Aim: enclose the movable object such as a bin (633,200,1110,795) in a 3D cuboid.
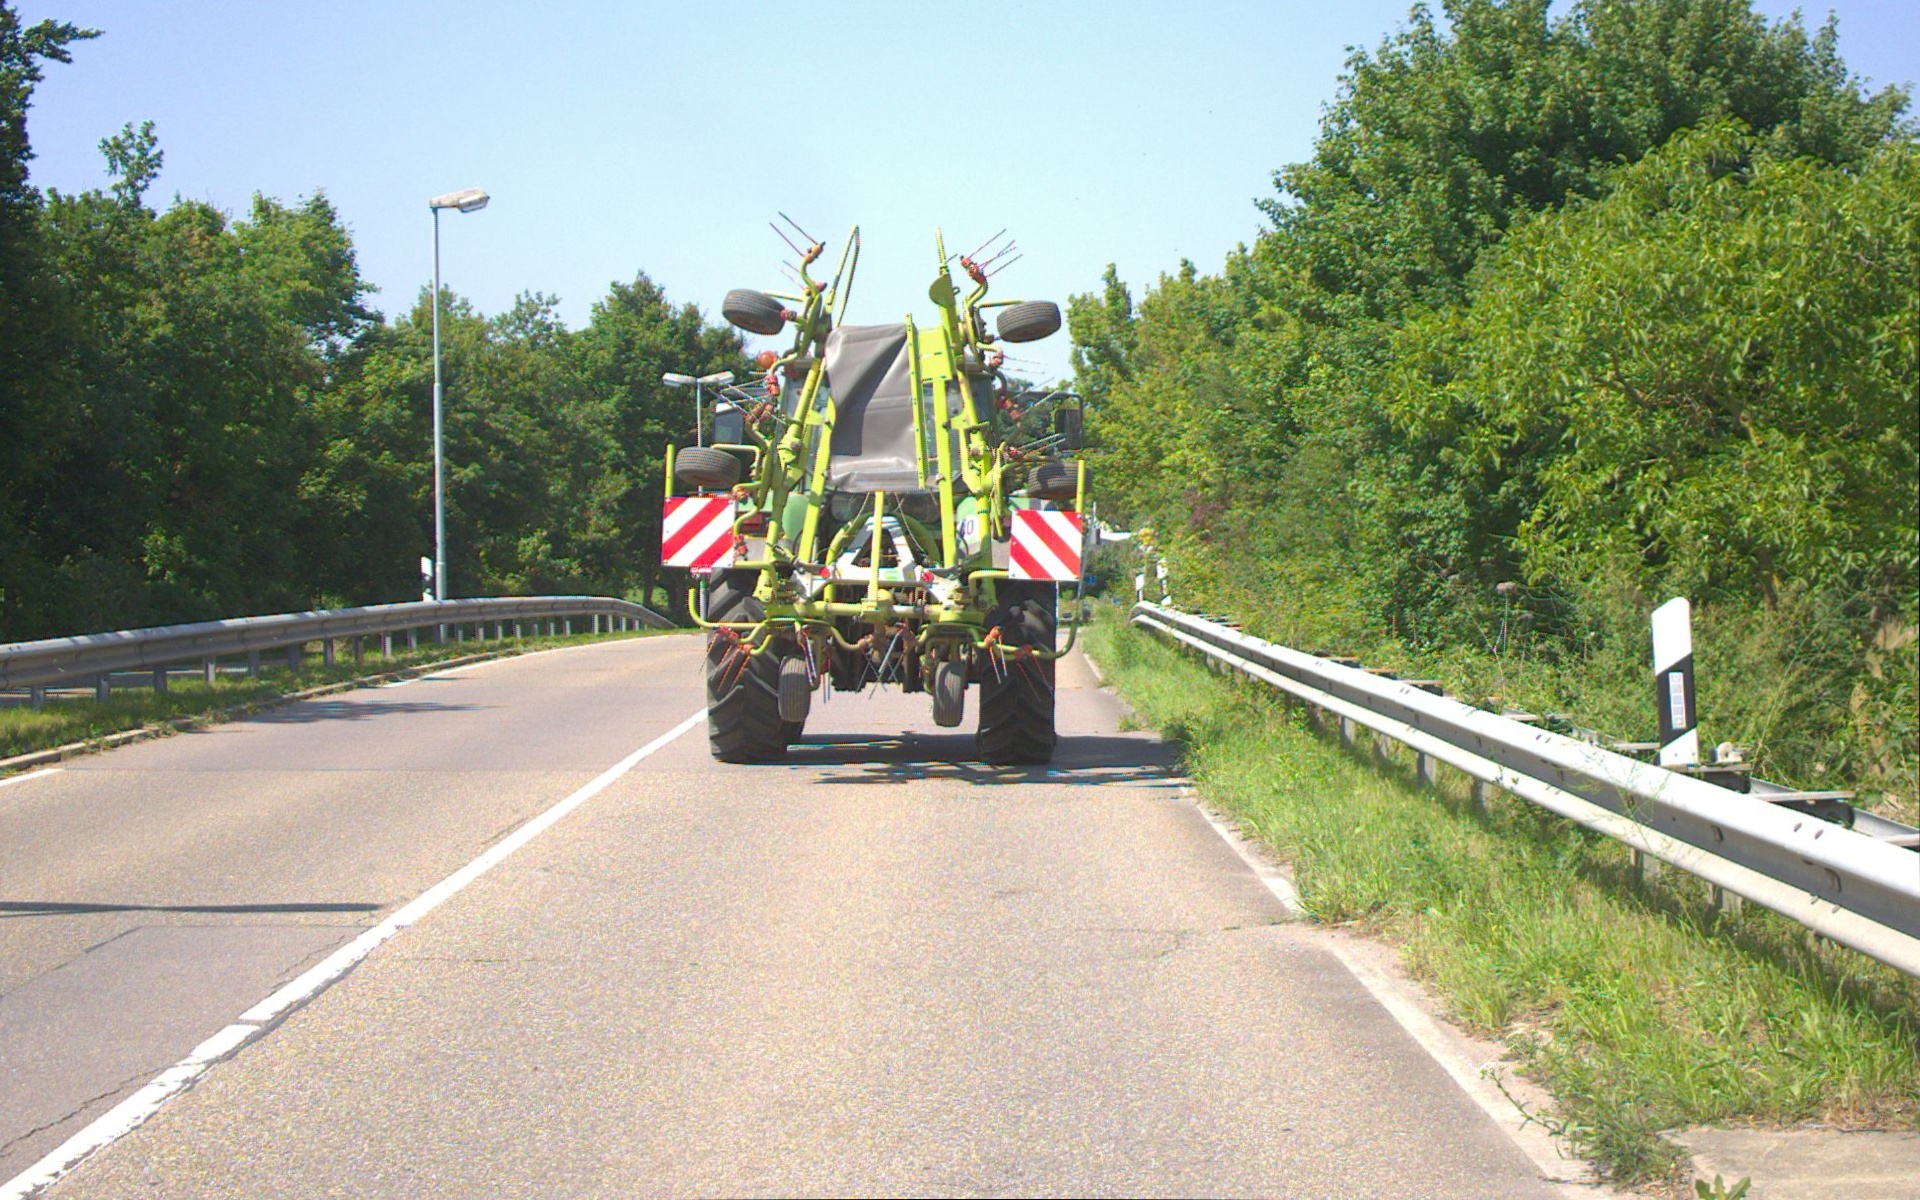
[{"bbox_3d":[-0.513,-0.668,22.759,2.755,3.432,5.670,0,1,0],"label":"movable object such as a bin"}]
